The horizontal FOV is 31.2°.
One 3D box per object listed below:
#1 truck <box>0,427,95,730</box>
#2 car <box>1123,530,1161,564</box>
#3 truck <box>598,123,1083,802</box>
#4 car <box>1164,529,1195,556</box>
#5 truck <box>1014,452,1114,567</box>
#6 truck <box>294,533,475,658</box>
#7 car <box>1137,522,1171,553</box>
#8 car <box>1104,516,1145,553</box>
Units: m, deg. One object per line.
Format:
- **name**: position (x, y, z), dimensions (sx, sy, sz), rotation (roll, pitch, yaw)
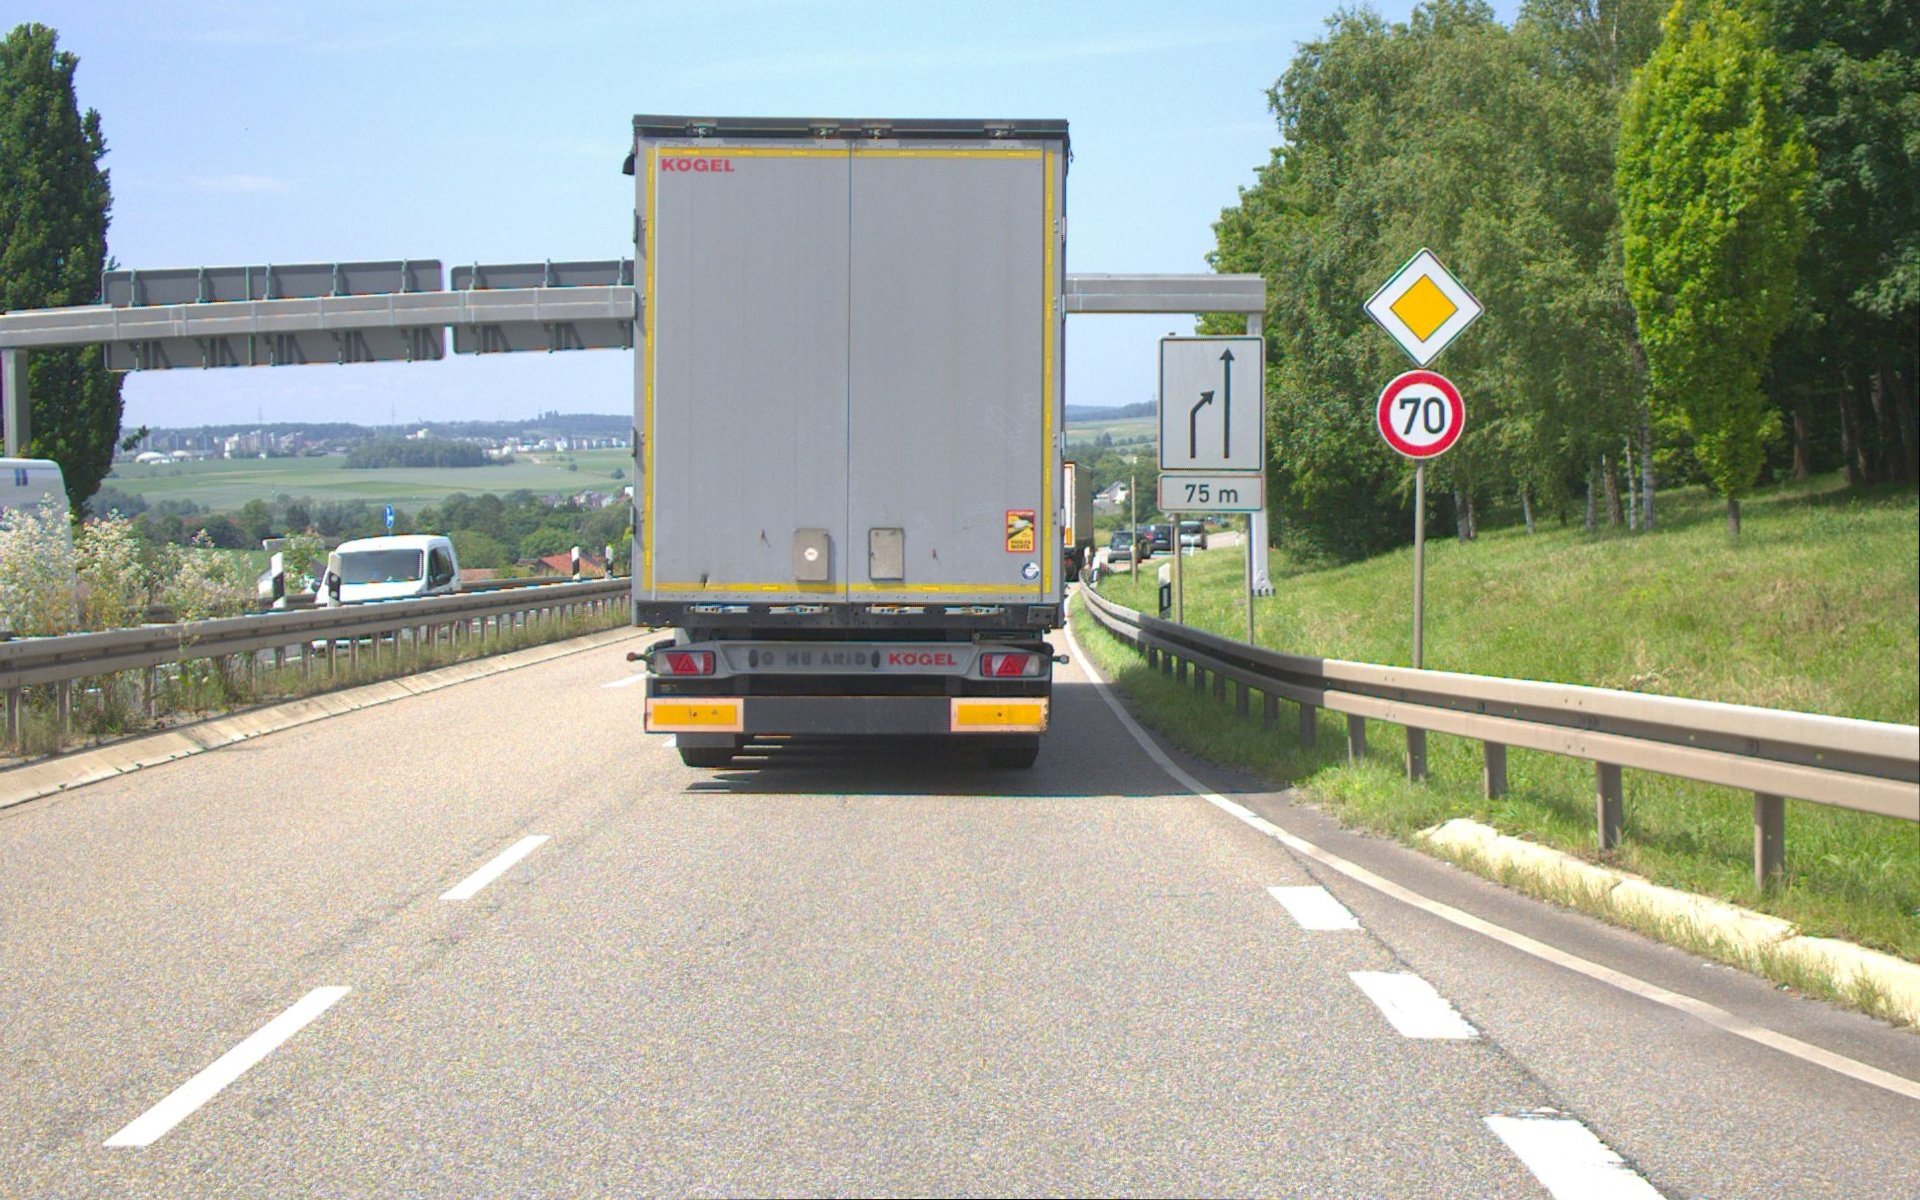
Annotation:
- **truck**: position (-9.316, -0.144, 29.776), dimensions (2.040, 2.612, 6.020), rotation (-3, 1, 0)
- **car**: position (9.423, -2.741, 177.994), dimensions (1.786, 1.682, 4.000), rotation (0, 0, 1)
- **truck**: position (-0.713, -0.896, 25.542), dimensions (2.799, 3.916, 11.342), rotation (0, 1, 0)
- **car**: position (13.811, -3.601, 216.485), dimensions (1.786, 1.682, 4.000), rotation (0, 0, 1)
- **truck**: position (3.650, -3.031, 118.706), dimensions (2.656, 3.752, 10.159), rotation (0, 0, 6)
- **truck**: position (-8.769, -0.073, 52.748), dimensions (1.849, 1.743, 4.537), rotation (-3, 0, 1)
- **car**: position (11.088, -3.561, 196.537), dimensions (1.786, 1.682, 4.000), rotation (0, 0, 1)
- **car**: position (7.793, -3.077, 163.020), dimensions (1.786, 1.682, 4.000), rotation (0, 0, 1)
